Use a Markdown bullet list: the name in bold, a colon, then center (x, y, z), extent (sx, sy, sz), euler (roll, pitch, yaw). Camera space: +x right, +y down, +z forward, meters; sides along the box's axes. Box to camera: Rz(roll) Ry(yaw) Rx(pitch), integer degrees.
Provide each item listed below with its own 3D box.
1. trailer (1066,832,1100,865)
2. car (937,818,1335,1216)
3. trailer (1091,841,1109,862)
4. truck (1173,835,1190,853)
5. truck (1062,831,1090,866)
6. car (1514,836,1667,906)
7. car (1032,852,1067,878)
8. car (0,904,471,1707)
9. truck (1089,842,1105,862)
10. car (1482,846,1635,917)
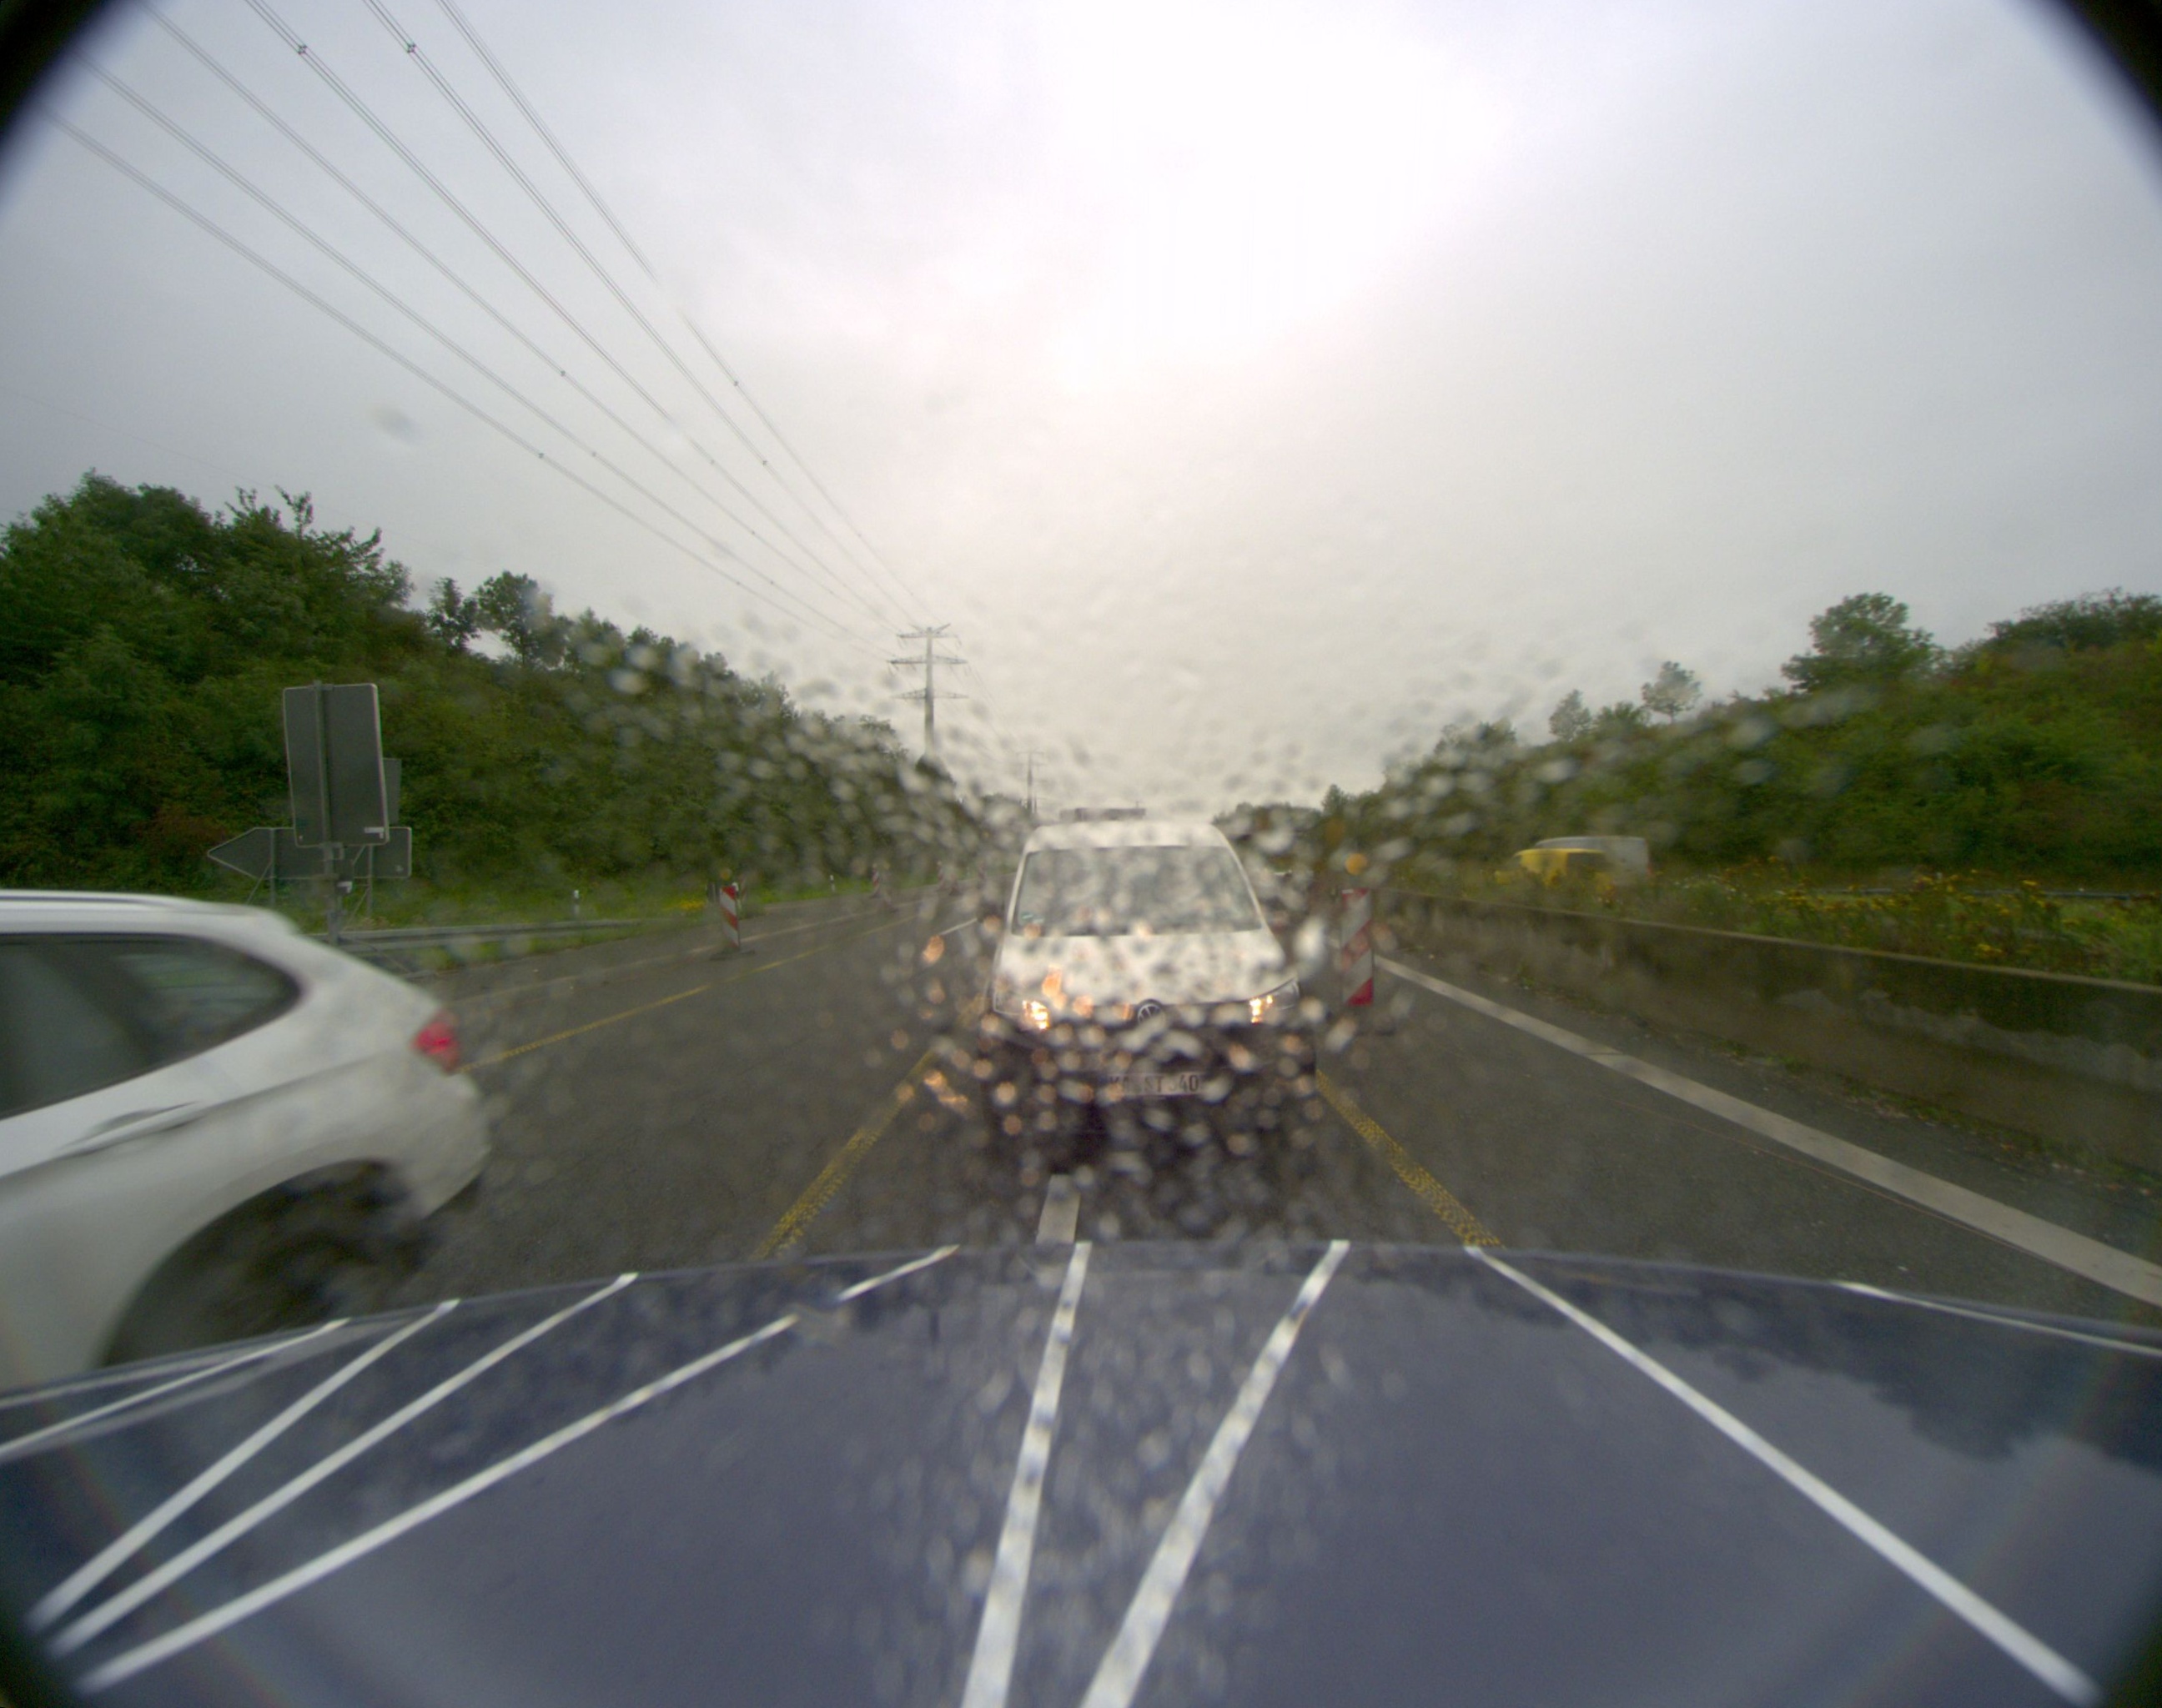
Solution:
- **trailer**: center (0.338, -0.807, 95.586), extent (2.524, 3.812, 12.356), euler (-2, 1, 8)
- **car**: center (0.276, 0.752, 5.826), extent (1.770, 1.774, 4.647), euler (-2, 0, 1)
- **trailer**: center (4.030, -0.630, 158.861), extent (2.807, 3.980, 14.152), euler (-2, 1, 5)
- **truck**: center (27.166, -2.696, 206.193), extent (3.414, 4.498, 17.288), euler (-1, 1, 3)
- **truck**: center (-0.511, -0.641, 89.503), extent (2.552, 3.924, 4.002), euler (-2, 1, 9)
- **car**: center (19.358, 0.590, 29.313), extent (2.245, 2.426, 5.885), euler (0, 0, 4)
- **car**: center (-2.077, 0.728, 52.225), extent (2.051, 1.587, 5.801), euler (-2, 0, 1)
- **car**: center (-3.059, 0.956, 0.426), extent (1.874, 1.526, 4.197), euler (-1, 0, 3)
- **truck**: center (3.251, -0.472, 152.423), extent (2.747, 3.912, 5.399), euler (-2, 1, 5)
- **car**: center (15.053, 0.797, 24.333), extent (1.998, 2.035, 4.779), euler (0, 0, 2)
